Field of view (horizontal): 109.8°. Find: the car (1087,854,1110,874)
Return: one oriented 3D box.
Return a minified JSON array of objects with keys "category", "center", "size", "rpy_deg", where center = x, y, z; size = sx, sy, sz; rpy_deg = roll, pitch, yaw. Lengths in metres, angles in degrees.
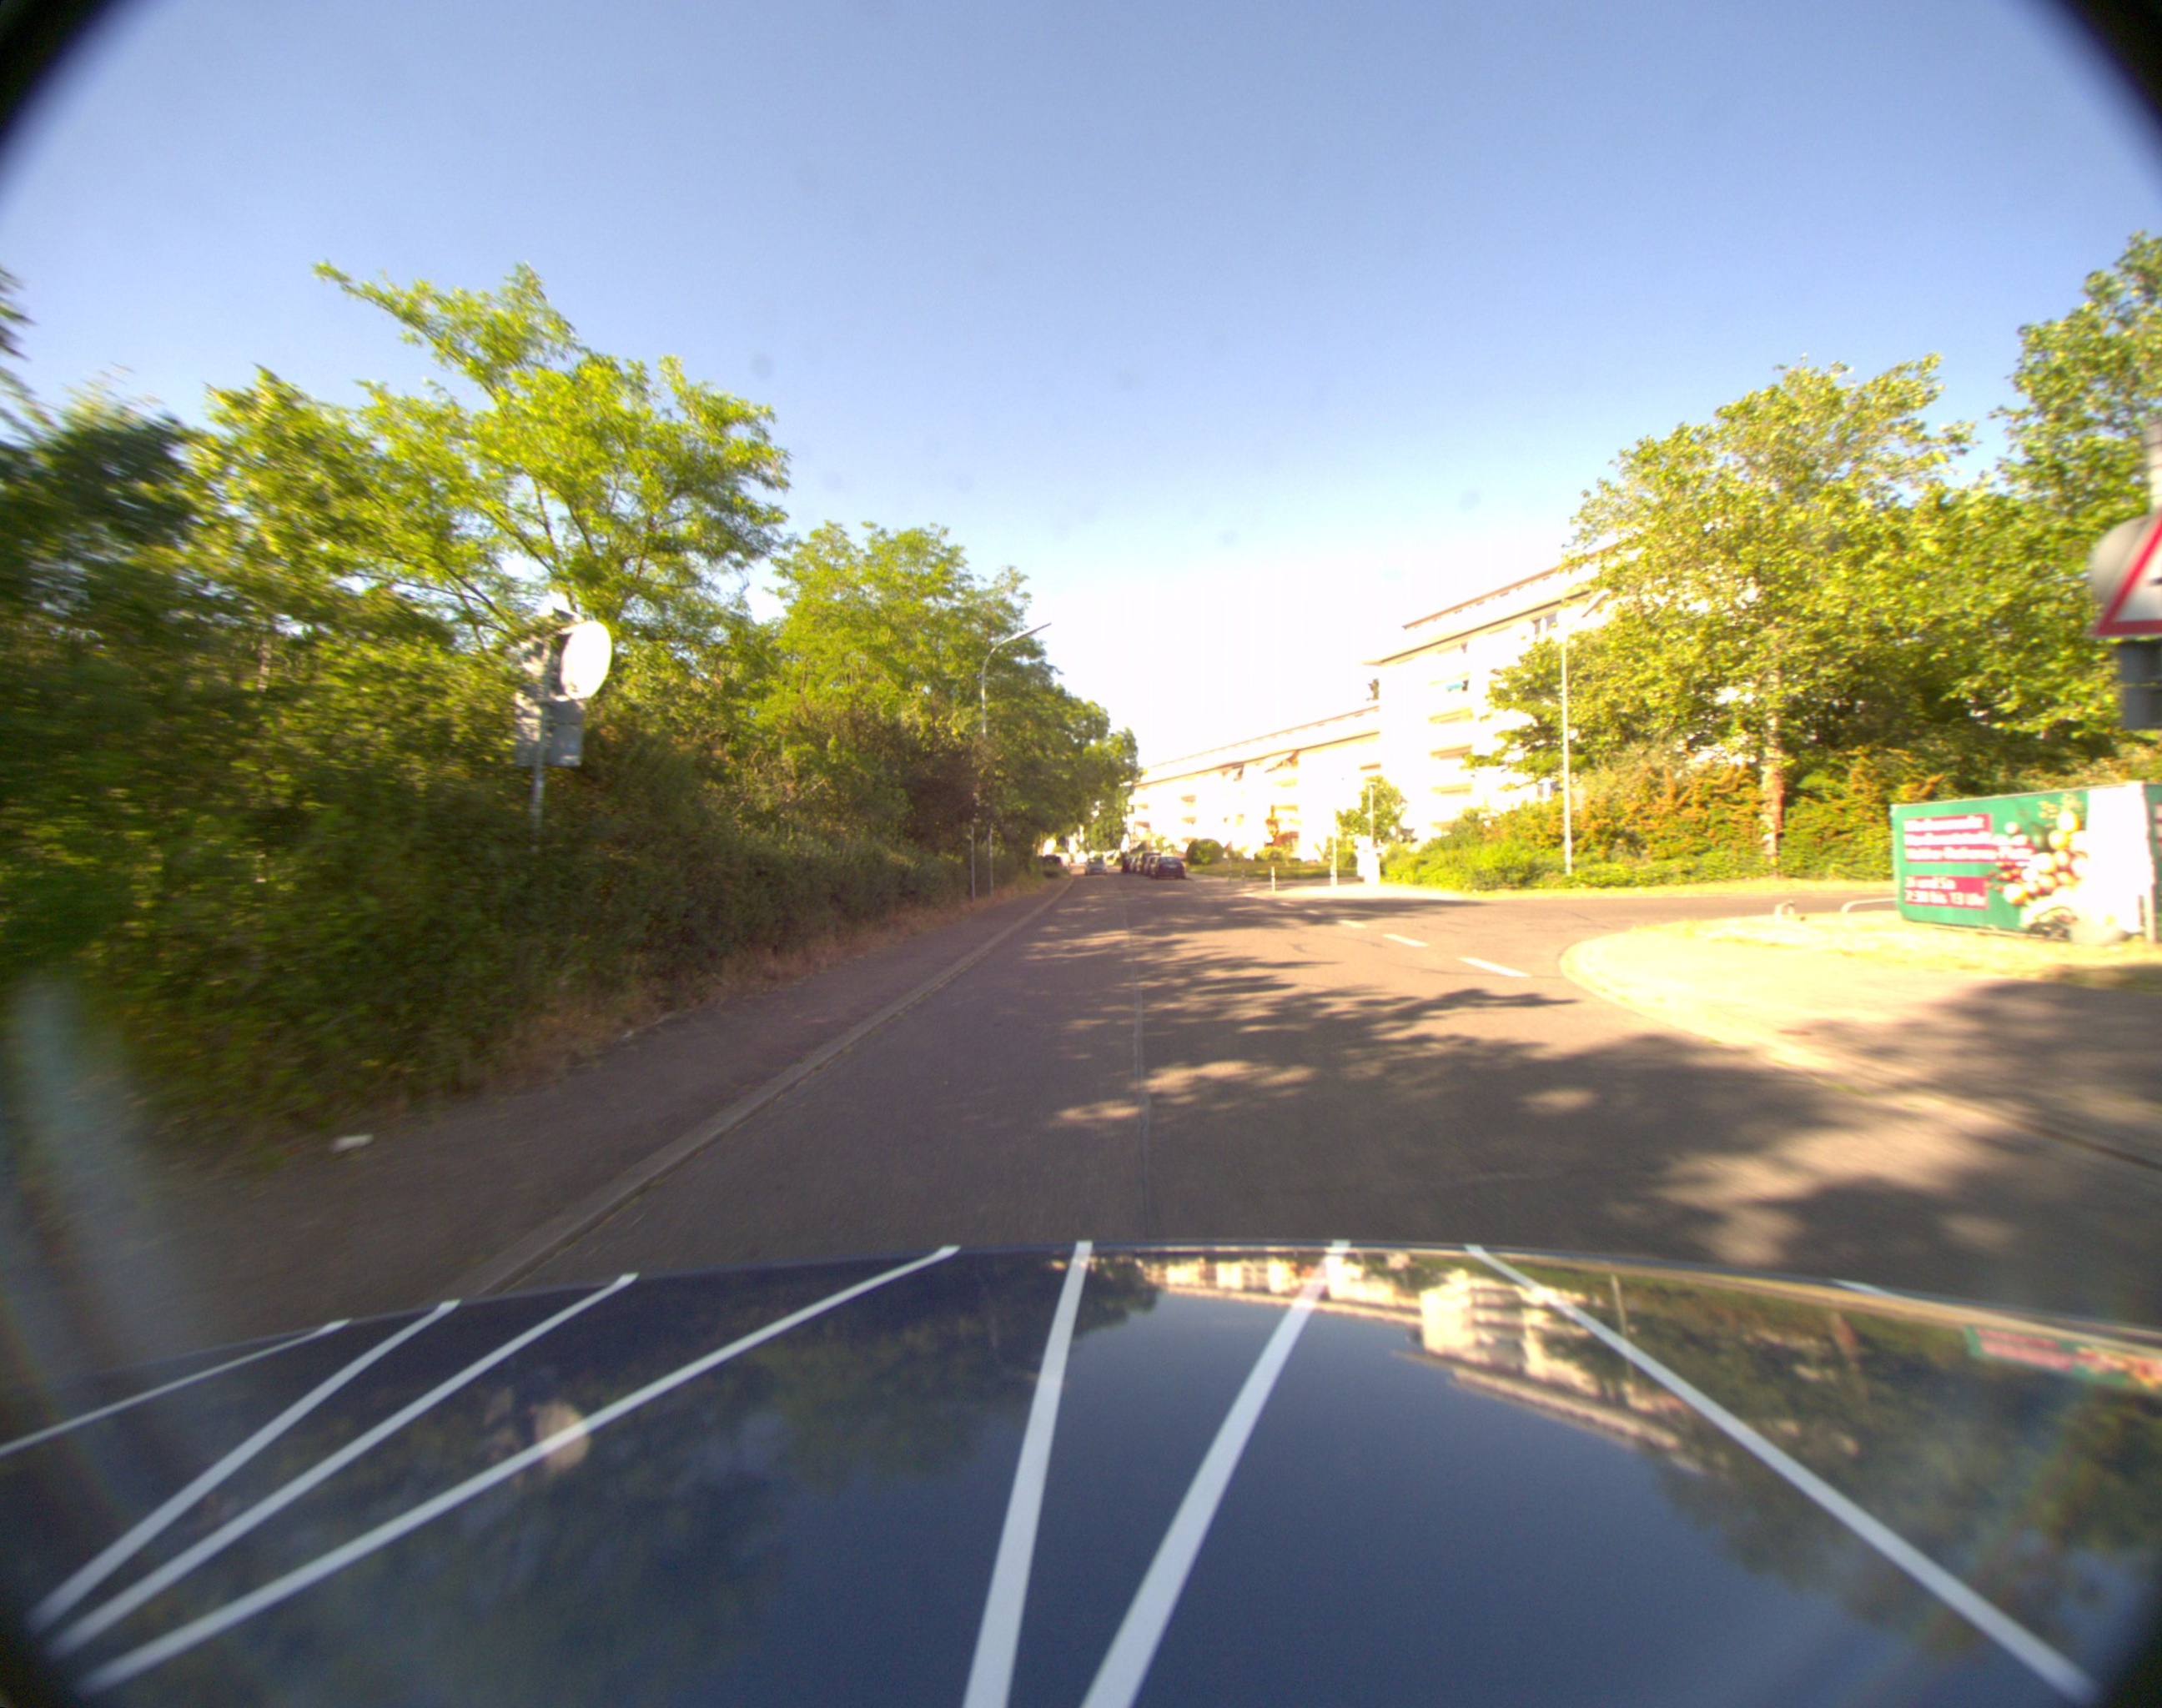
[{"category":"car","center":[1.384,0.791,60.926],"size":[1.597,1.417,4.170],"rpy_deg":[2,0,-1]}]

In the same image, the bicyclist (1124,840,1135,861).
[{"category":"bicyclist","center":[3.967,-0.288,62.599],"size":[0.847,1.648,1.064],"rpy_deg":[-1,1,1]}]

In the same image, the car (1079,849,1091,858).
[{"category":"car","center":[0.731,-0.056,159.068],"size":[2.008,1.837,4.613],"rpy_deg":[-3,1,-5]}]

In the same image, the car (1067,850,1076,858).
[{"category":"car","center":[-2.172,0.003,177.772],"size":[1.694,1.661,4.049],"rpy_deg":[-1,1,-6]}]

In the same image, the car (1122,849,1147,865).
[{"category":"car","center":[5.076,0.265,73.038],"size":[1.845,1.473,4.799],"rpy_deg":[1,0,-2]}]

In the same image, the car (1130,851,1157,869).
[{"category":"car","center":[5.479,0.526,67.345],"size":[1.845,1.473,4.573],"rpy_deg":[2,0,-1]}]

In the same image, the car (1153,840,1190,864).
[{"category":"car","center":[5.677,-0.113,48.094],"size":[1.732,1.455,4.682],"rpy_deg":[1,0,-1]}]

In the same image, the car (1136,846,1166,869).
[{"category":"car","center":[5.604,0.281,61.316],"size":[1.844,1.770,4.887],"rpy_deg":[1,0,-1]}]

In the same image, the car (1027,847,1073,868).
[{"category":"car","center":[-3.009,0.340,75.617],"size":[4.462,2.005,2.021],"rpy_deg":[1,0,0]}]

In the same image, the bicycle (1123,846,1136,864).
[{"category":"bicycle","center":[3.976,0.072,62.351],"size":[0.853,1.362,3.220],"rpy_deg":[-1,1,1]}]

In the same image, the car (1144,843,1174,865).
[{"category":"car","center":[5.576,-0.008,54.766],"size":[1.844,1.446,4.018],"rpy_deg":[1,0,2]}]

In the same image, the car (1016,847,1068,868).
[{"category":"car","center":[-3.232,0.245,62.944],"size":[4.158,1.685,1.775],"rpy_deg":[0,0,1]}]
